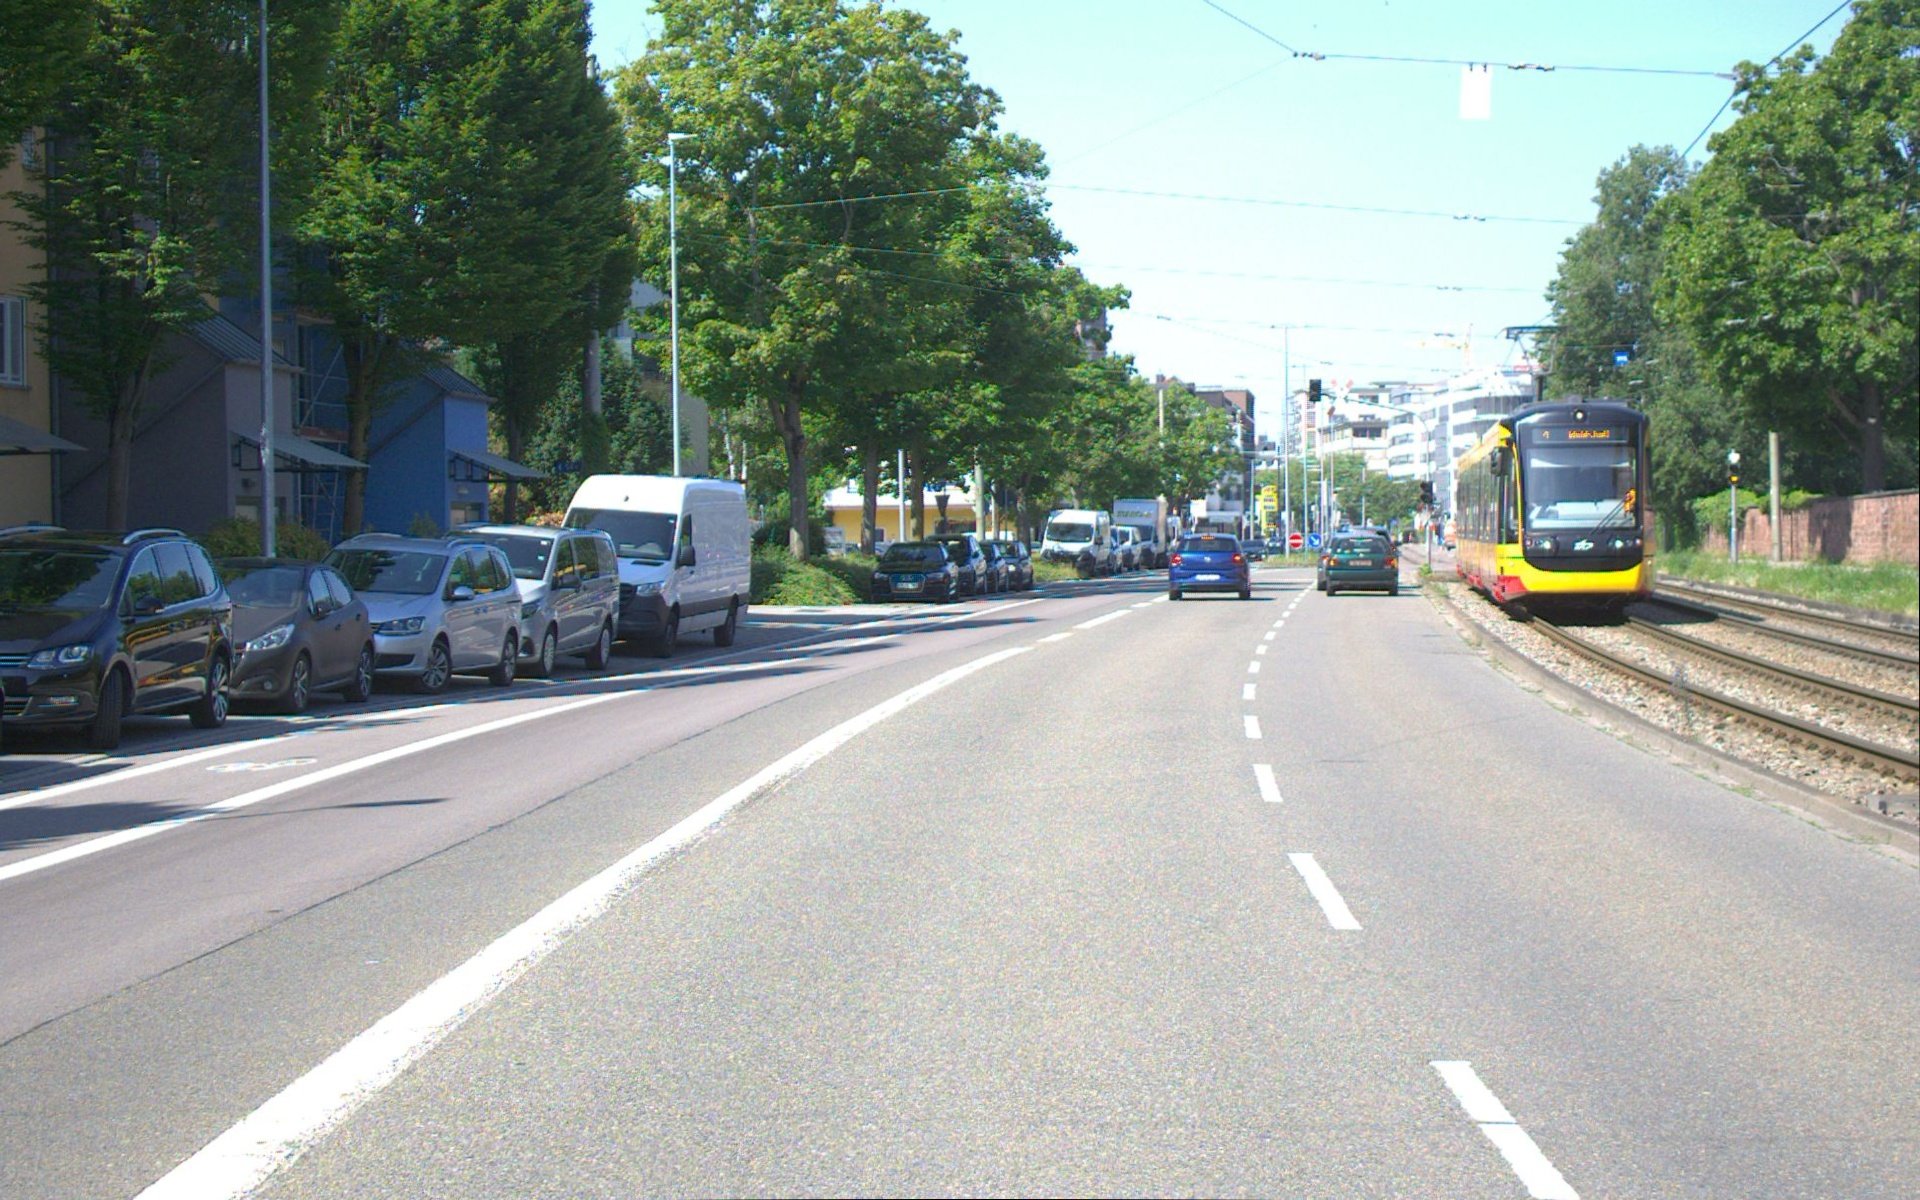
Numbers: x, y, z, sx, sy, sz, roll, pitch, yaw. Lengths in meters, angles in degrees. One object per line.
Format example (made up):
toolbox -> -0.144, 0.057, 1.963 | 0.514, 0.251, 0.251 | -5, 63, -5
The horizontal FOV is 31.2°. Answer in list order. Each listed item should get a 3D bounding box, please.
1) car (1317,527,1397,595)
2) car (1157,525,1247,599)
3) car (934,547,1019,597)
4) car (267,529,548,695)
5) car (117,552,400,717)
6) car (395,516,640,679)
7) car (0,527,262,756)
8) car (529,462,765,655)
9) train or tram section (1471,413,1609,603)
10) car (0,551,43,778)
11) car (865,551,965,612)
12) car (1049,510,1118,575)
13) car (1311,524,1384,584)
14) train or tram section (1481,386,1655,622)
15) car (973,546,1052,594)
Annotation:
car -> 9.241, -0.936, 80.250 | 1.801, 1.502, 3.999 | 1, 2, 6
car -> 5.319, -0.859, 75.244 | 1.801, 1.502, 4.000 | 1, 2, 6
car -> 0.481, -0.801, 96.343 | 1.700, 1.347, 3.998 | -1, 1, 10
car -> -6.253, 0.085, 39.491 | 1.801, 1.718, 4.908 | 2, 1, 7
car -> -6.929, 0.293, 34.373 | 1.690, 1.469, 4.048 | 2, 1, 4
car -> -5.730, -0.080, 45.245 | 1.920, 1.941, 5.353 | 2, 1, 6
car -> -7.330, 0.269, 28.903 | 1.769, 1.717, 4.870 | 1, 1, 2
car -> -4.715, -0.661, 53.066 | 1.995, 2.705, 7.155 | 2, 1, 8
train or tram section -> 12.459, -1.947, 74.687 | 2.512, 3.734, 13.307 | -1, 1, 8
car -> -7.771, 0.478, 23.380 | 1.717, 1.619, 4.312 | 1, 1, 3
car -> -1.069, -0.469, 83.479 | 1.700, 1.412, 3.998 | -1, 1, 10
car -> 4.701, -2.187, 130.289 | 1.881, 2.407, 5.114 | -1, 1, 10
car -> 9.838, -1.179, 87.396 | 1.801, 1.455, 3.999 | 1, 2, 6
train or tram section -> 10.706, -1.661, 61.539 | 2.512, 3.734, 13.307 | -1, 1, 8
car -> 1.565, -0.897, 101.548 | 1.700, 1.347, 3.998 | -1, 1, 10
